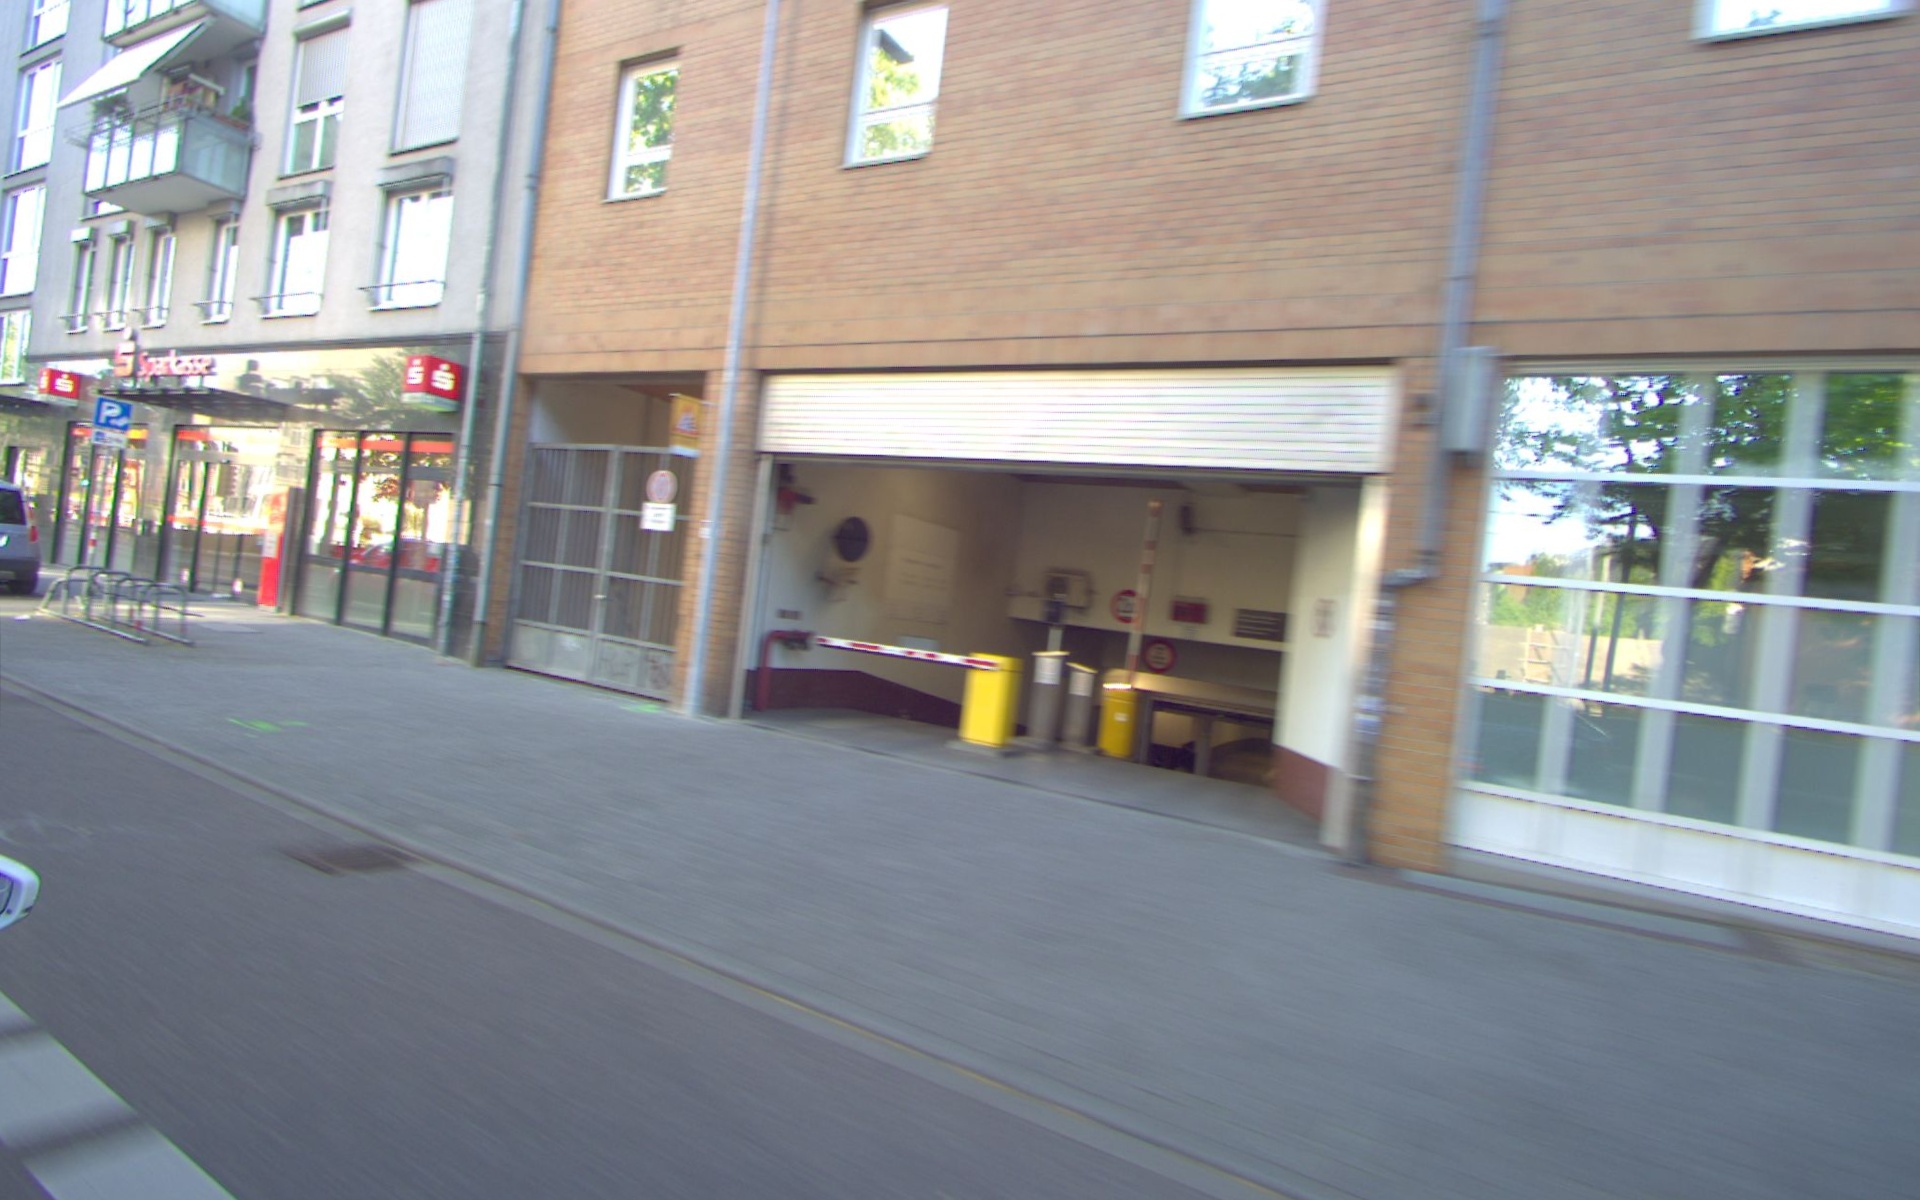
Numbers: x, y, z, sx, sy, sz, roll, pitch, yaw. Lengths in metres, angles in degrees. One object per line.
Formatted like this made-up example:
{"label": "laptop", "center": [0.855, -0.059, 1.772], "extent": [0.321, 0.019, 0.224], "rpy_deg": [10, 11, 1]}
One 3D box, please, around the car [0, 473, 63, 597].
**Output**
{"label": "car", "center": [-14.878, -1.102, 14.421], "extent": [4.213, 1.644, 1.833], "rpy_deg": [6, 2, 31]}
